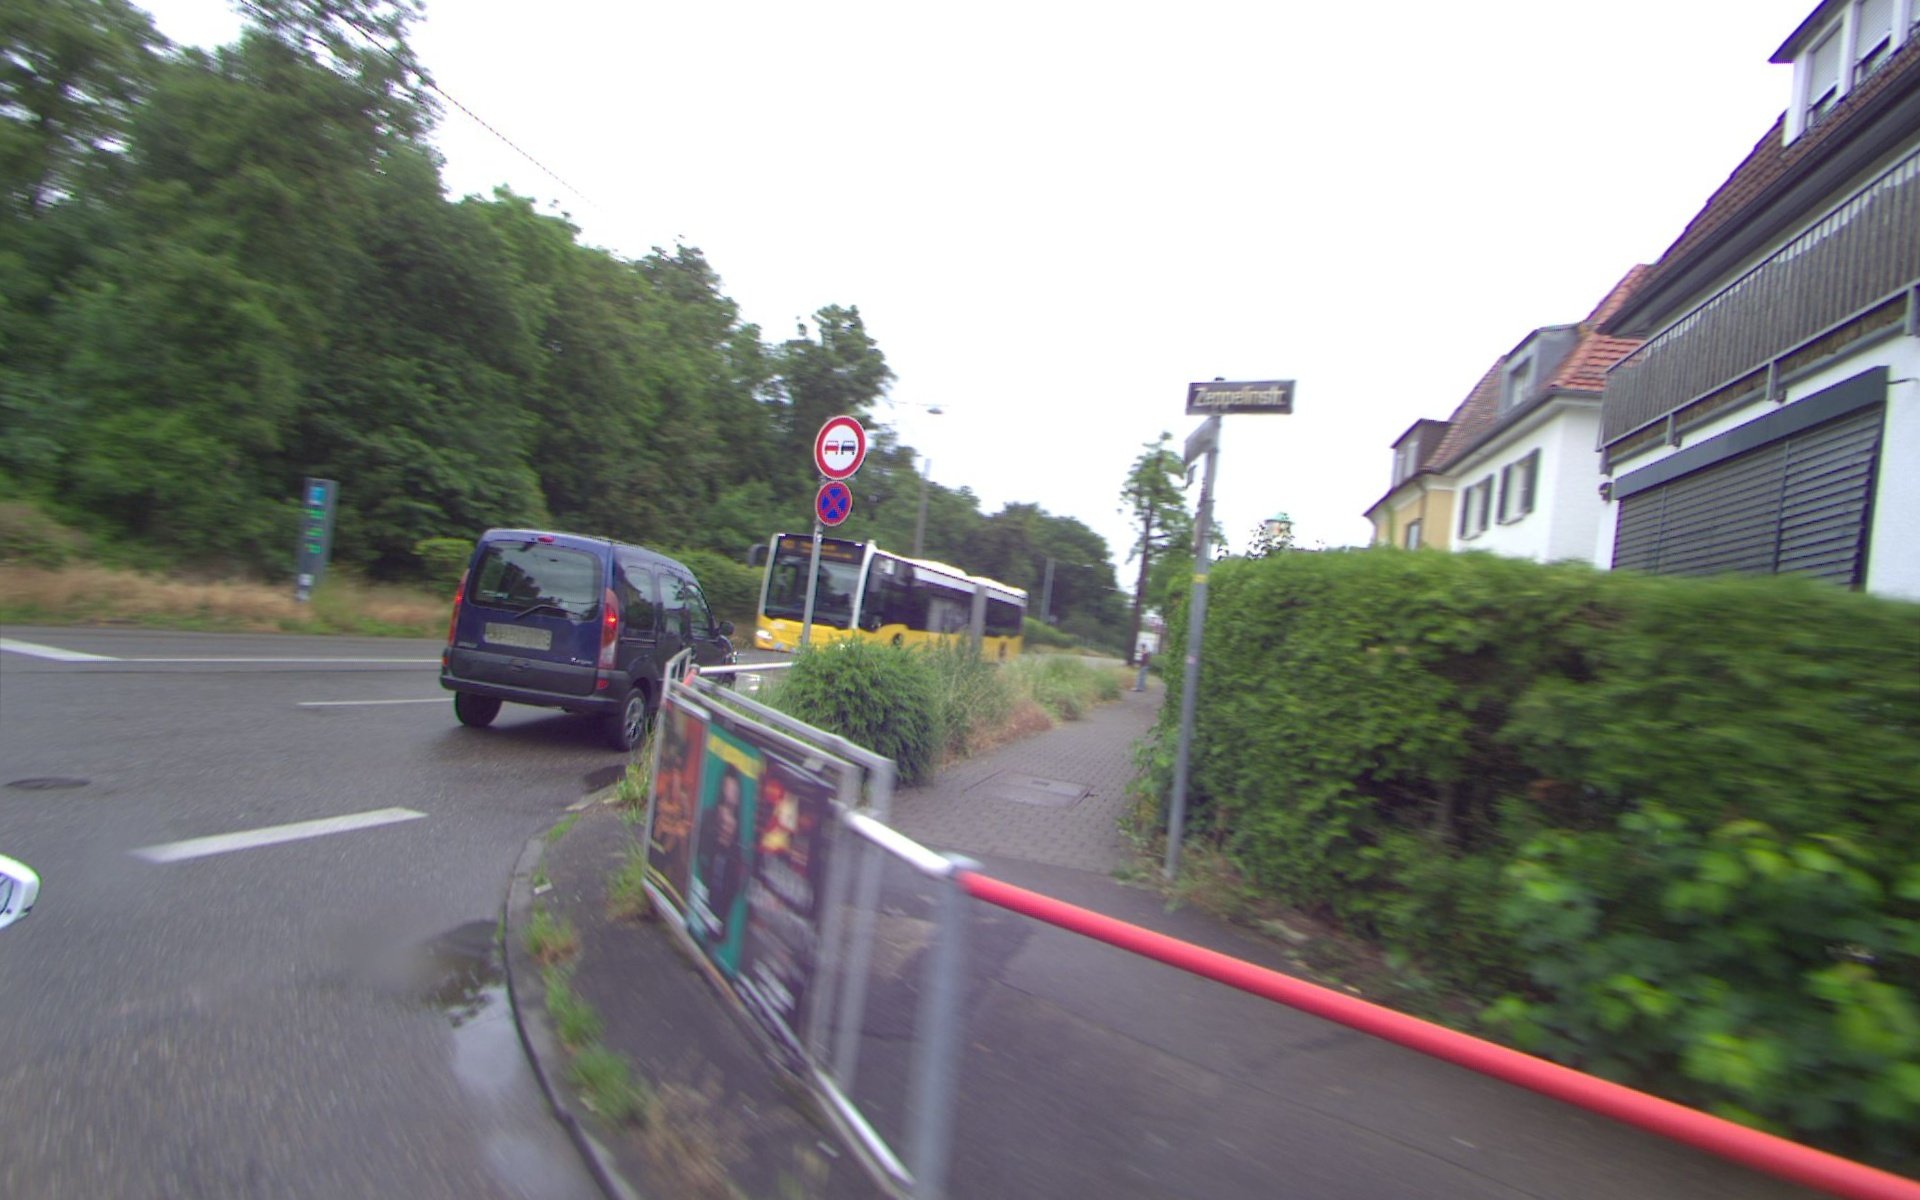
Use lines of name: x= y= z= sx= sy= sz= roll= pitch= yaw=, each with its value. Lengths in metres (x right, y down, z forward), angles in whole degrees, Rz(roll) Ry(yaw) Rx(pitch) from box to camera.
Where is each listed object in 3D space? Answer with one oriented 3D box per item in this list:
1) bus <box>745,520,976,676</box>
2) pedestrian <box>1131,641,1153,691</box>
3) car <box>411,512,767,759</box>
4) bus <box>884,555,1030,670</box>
bus: x=-2.129 y=0.187 z=26.380 sx=2.602 sy=3.080 sz=9.238 roll=8 pitch=-1 yaw=15
pedestrian: x=5.872 y=2.120 z=32.445 sx=0.474 sy=1.552 sz=0.440 roll=8 pitch=0 yaw=12
car: x=-3.454 y=0.354 z=10.305 sx=1.780 sy=1.818 sz=4.003 roll=7 pitch=-1 yaw=4
bus: x=0.175 y=0.611 z=35.028 sx=2.554 sy=3.195 sz=8.643 roll=8 pitch=-1 yaw=15
